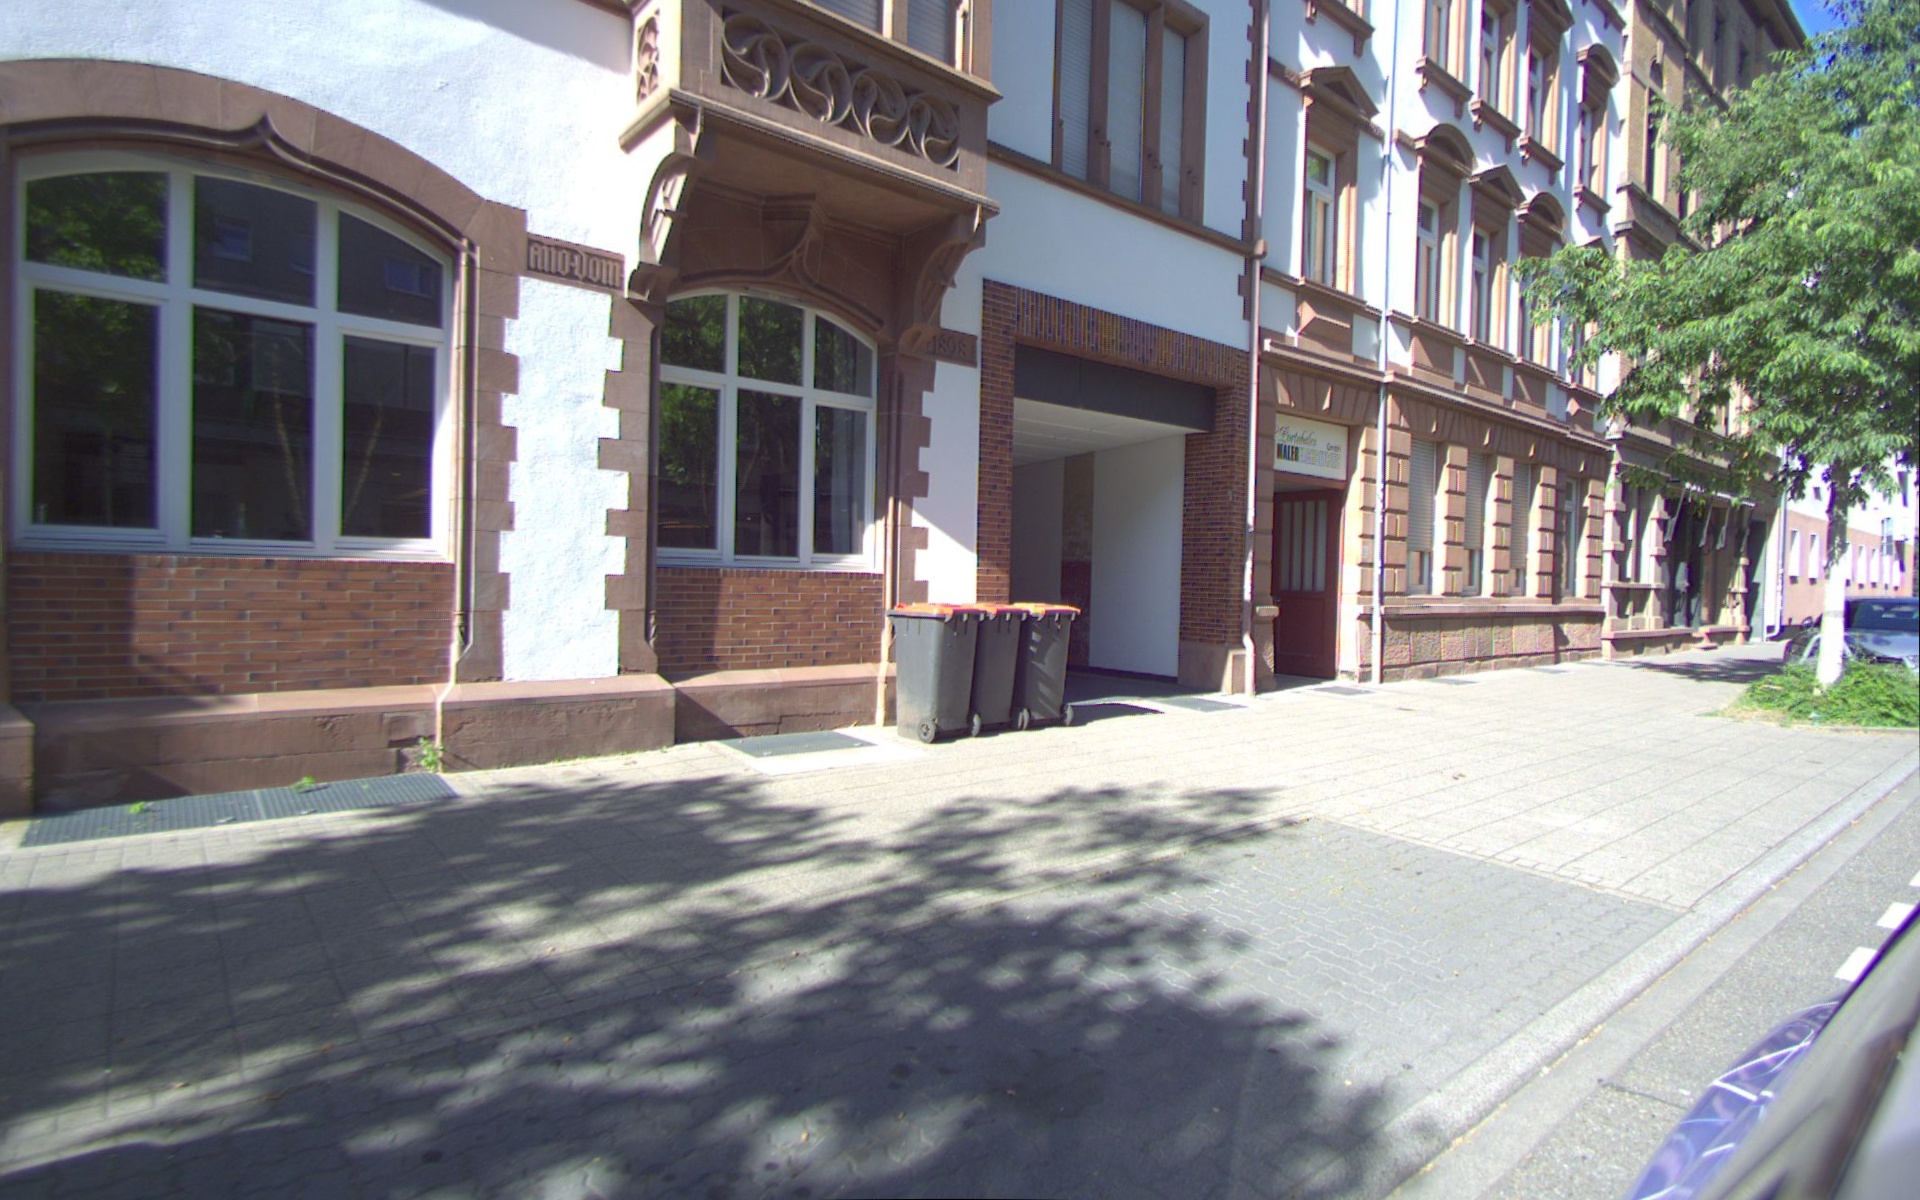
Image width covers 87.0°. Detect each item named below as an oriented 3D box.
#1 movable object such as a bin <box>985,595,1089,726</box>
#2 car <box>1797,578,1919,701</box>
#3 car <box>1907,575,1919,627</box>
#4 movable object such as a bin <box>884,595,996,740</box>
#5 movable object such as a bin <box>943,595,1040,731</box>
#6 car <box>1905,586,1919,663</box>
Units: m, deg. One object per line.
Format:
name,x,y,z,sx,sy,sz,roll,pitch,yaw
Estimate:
movable object such as a bin,0.678,0.505,8.963,0.628,1.082,0.639,0,1,-40
car,13.112,0.482,13.928,4.232,1.469,1.742,0,2,-41
car,29.534,0.055,29.976,3.645,1.498,1.713,0,2,-40
movable object such as a bin,-0.164,0.513,8.155,0.621,1.082,0.639,0,1,-40
movable object such as a bin,0.264,0.510,8.597,0.512,1.082,0.639,0,1,-40
car,20.244,0.489,20.071,3.930,1.469,1.742,0,2,-41
